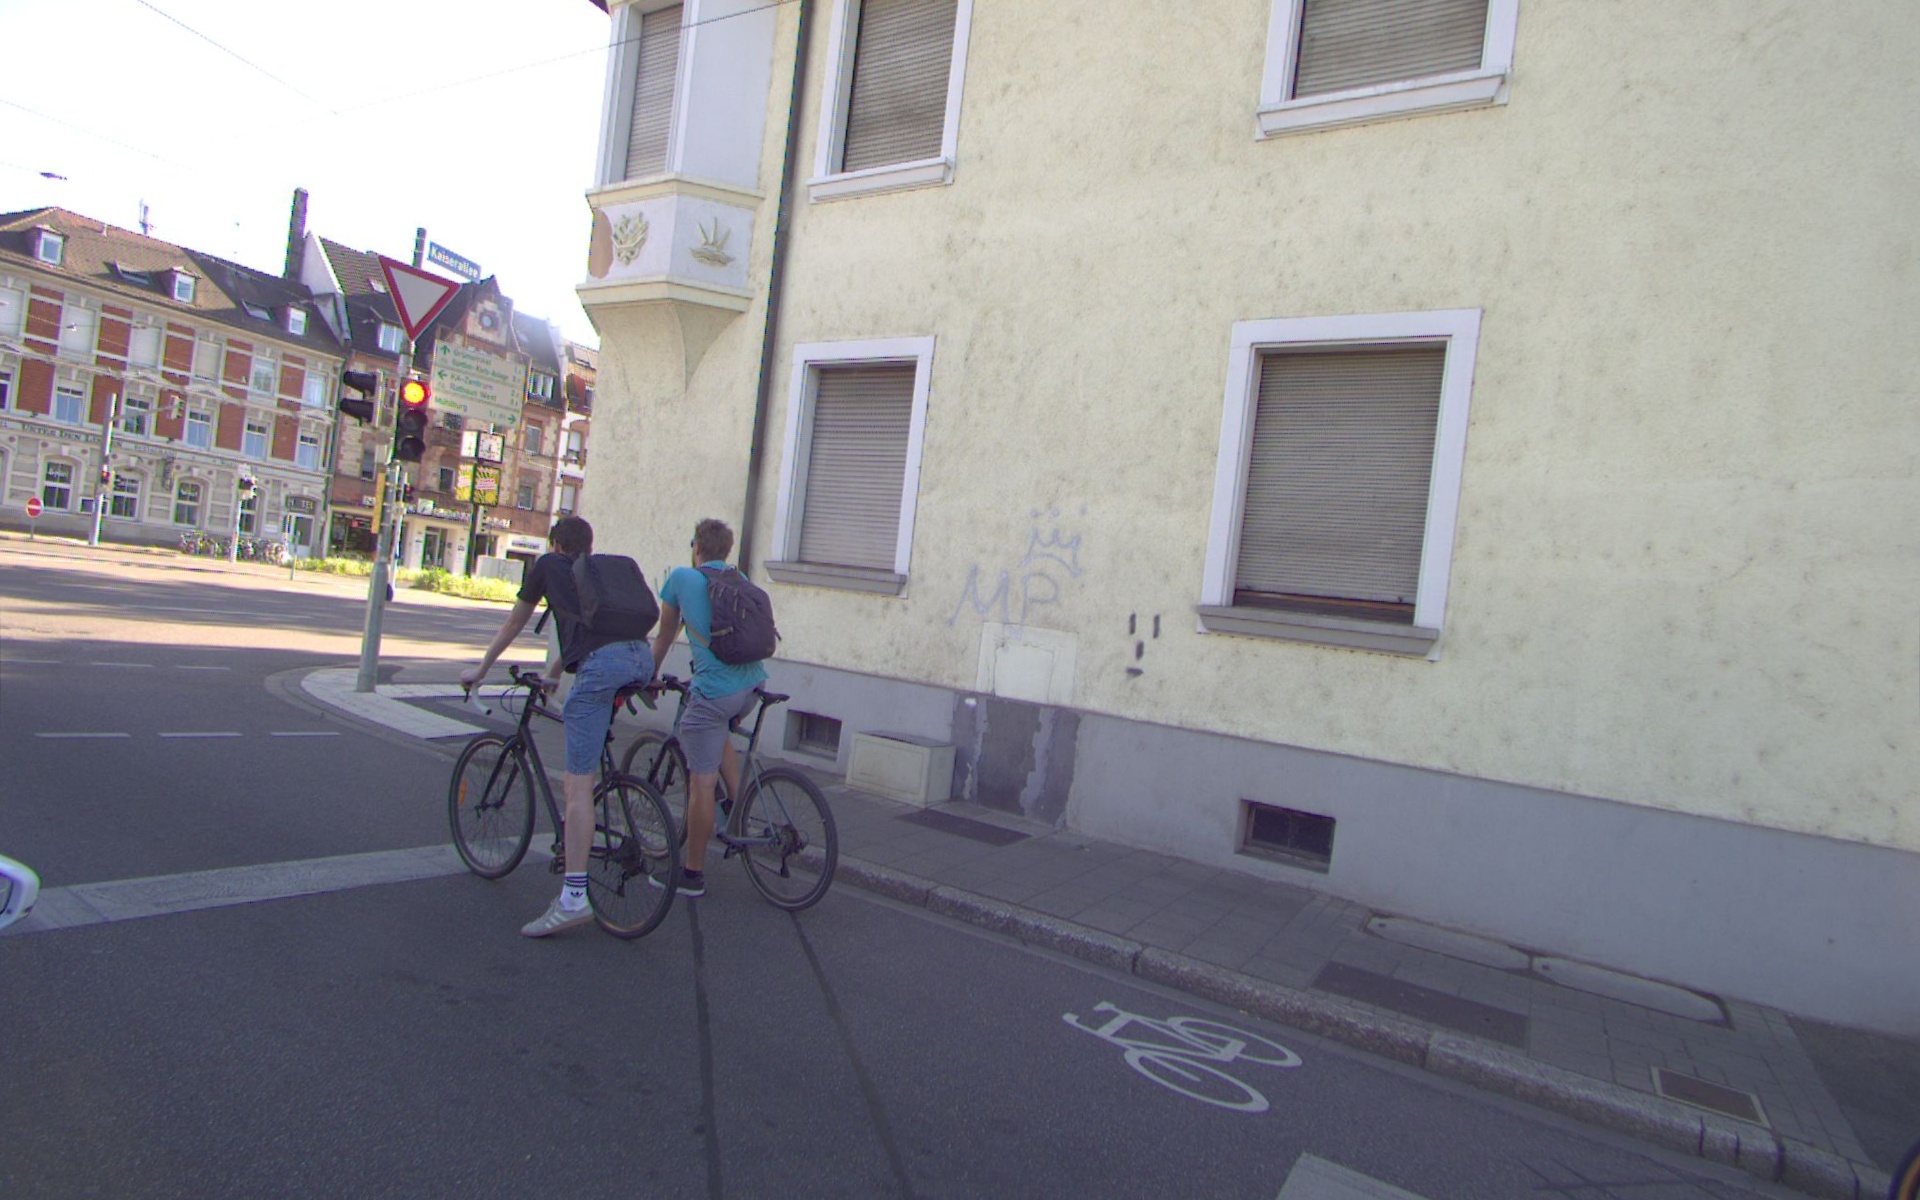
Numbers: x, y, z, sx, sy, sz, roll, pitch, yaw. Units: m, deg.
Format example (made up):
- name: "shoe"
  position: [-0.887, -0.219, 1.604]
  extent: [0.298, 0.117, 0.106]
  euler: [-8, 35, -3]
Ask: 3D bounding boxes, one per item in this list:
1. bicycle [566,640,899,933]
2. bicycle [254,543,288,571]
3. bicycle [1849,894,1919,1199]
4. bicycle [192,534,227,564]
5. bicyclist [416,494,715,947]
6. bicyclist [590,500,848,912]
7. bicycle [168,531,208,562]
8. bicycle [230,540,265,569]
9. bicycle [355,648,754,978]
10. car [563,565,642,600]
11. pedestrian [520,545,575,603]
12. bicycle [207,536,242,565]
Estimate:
- name: "bicycle"
  position: [-1.240, 0.886, 5.274]
  extent: [1.784, 1.130, 0.519]
  euler: [7, 0, 34]
- name: "bicycle"
  position: [-33.095, -2.059, 48.309]
  extent: [2.102, 1.150, 0.609]
  euler: [7, 0, 37]
- name: "bicycle"
  position: [3.238, 1.466, 2.212]
  extent: [1.780, 1.101, 0.611]
  euler: [7, 0, 32]
- name: "bicycle"
  position: [-34.528, -2.348, 46.276]
  extent: [2.140, 1.157, 0.618]
  euler: [7, 0, 37]
- name: "bicyclist"
  position: [-1.789, 0.473, 4.539]
  extent: [1.083, 1.775, 0.562]
  euler: [7, 0, 34]
- name: "bicyclist"
  position: [-1.256, 0.499, 5.239]
  extent: [0.961, 1.917, 0.602]
  euler: [6, -1, 34]
- name: "bicycle"
  position: [-35.042, -2.438, 45.673]
  extent: [2.140, 1.157, 0.806]
  euler: [7, 0, 37]
- name: "bicycle"
  position: [-33.660, -2.153, 47.505]
  extent: [2.140, 1.157, 0.618]
  euler: [7, 0, 37]
- name: "bicycle"
  position: [-1.901, 0.855, 4.585]
  extent: [1.897, 1.023, 0.645]
  euler: [7, 0, 34]
- name: "car"
  position: [-23.151, -1.113, 65.314]
  extent: [2.116, 1.660, 4.340]
  euler: [7, -1, 31]
- name: "pedestrian"
  position: [-16.548, -1.032, 40.371]
  extent: [1.285, 2.068, 1.321]
  euler: [7, 0, 31]
- name: "bicycle"
  position: [-34.192, -2.300, 46.753]
  extent: [2.140, 1.157, 0.618]
  euler: [7, 0, 37]
